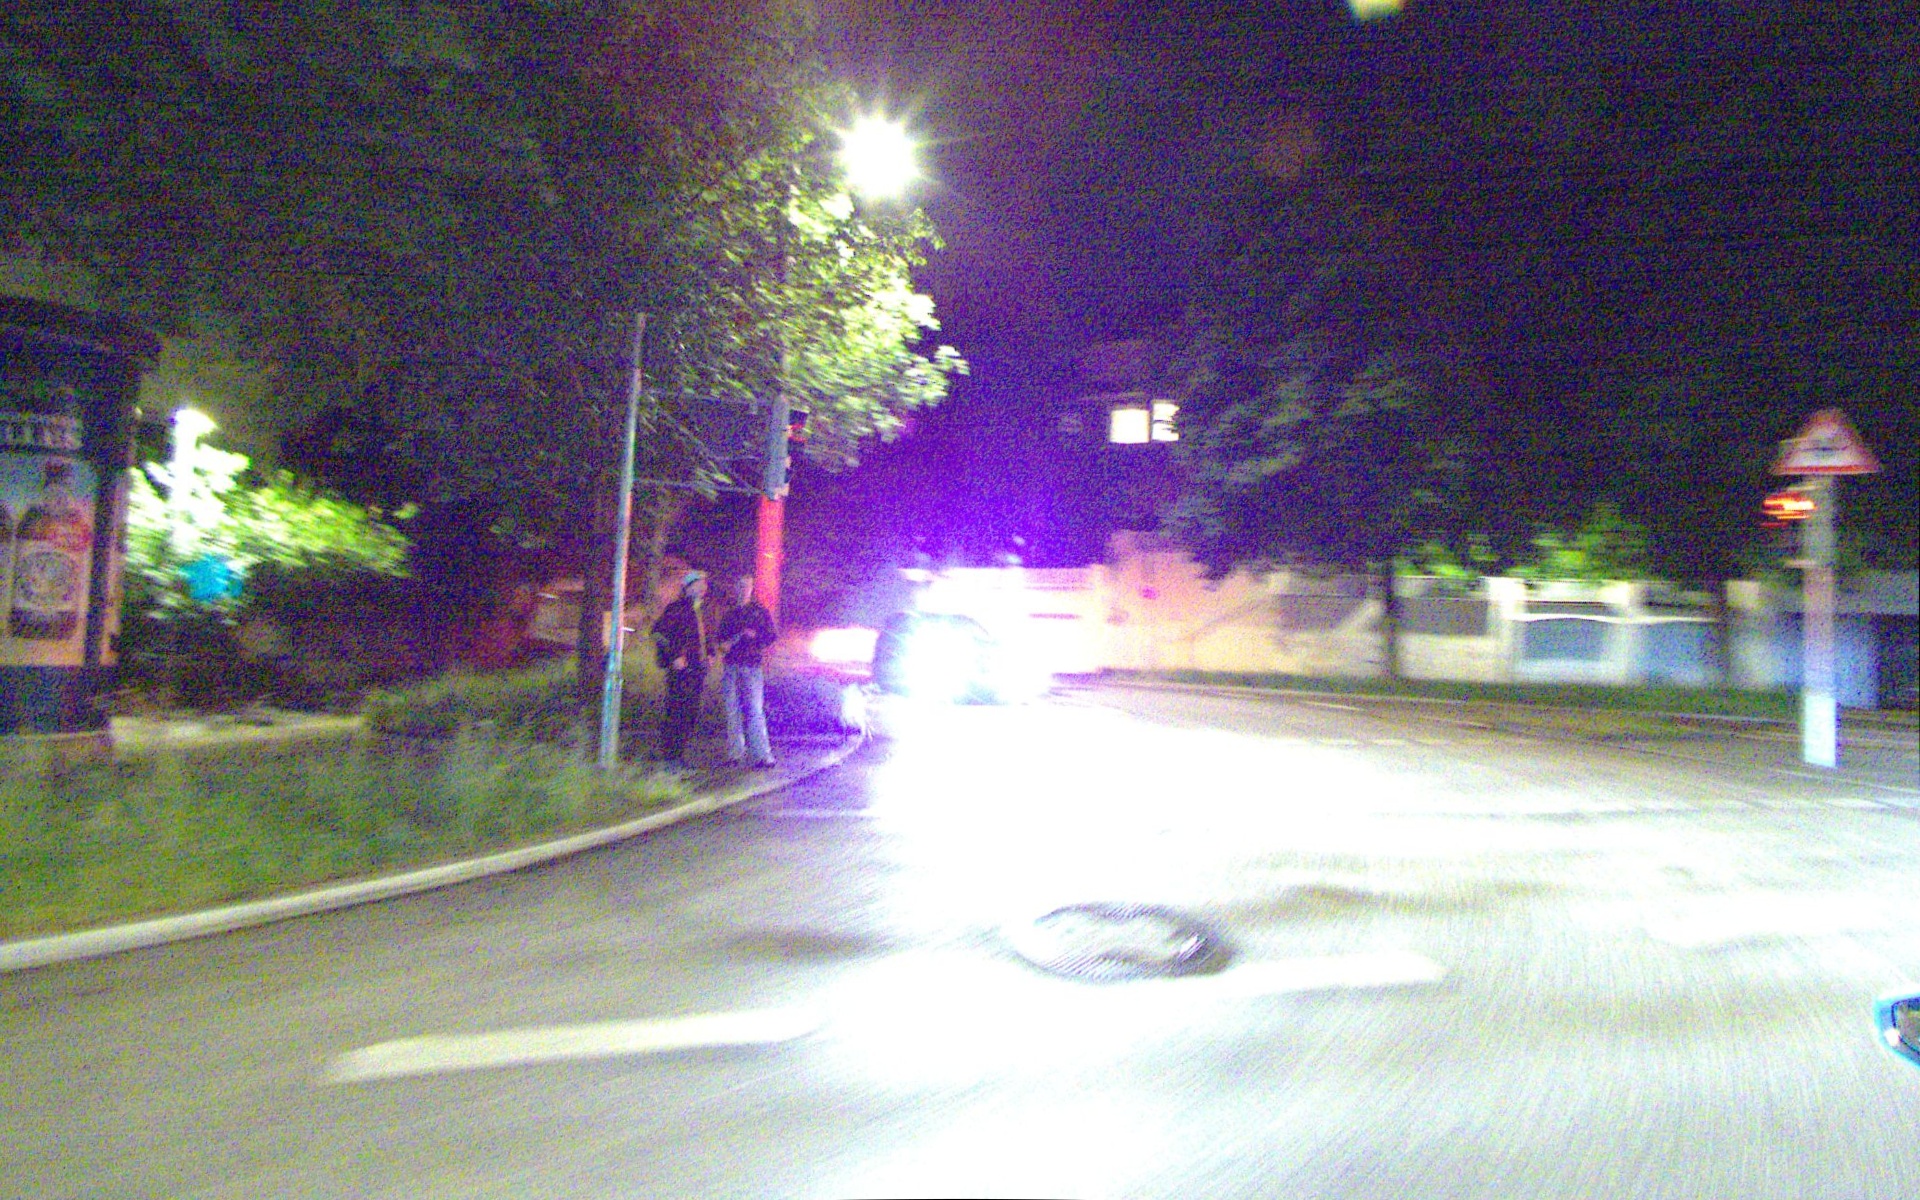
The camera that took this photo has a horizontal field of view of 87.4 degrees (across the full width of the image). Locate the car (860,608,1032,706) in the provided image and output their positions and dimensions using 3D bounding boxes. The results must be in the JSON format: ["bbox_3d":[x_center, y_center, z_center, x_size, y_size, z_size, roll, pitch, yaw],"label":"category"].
[{"bbox_3d":[-0.395,0.930,17.910,1.705,1.448,4.270,4,-1,-20],"label":"car"}]

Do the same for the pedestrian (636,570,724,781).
[{"bbox_3d":[-2.510,0.655,9.050,0.513,1.816,0.693,1,0,6],"label":"pedestrian"}]

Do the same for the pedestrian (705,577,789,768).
[{"bbox_3d":[-2.081,0.687,9.937,0.715,1.793,0.964,1,0,-8],"label":"pedestrian"}]
